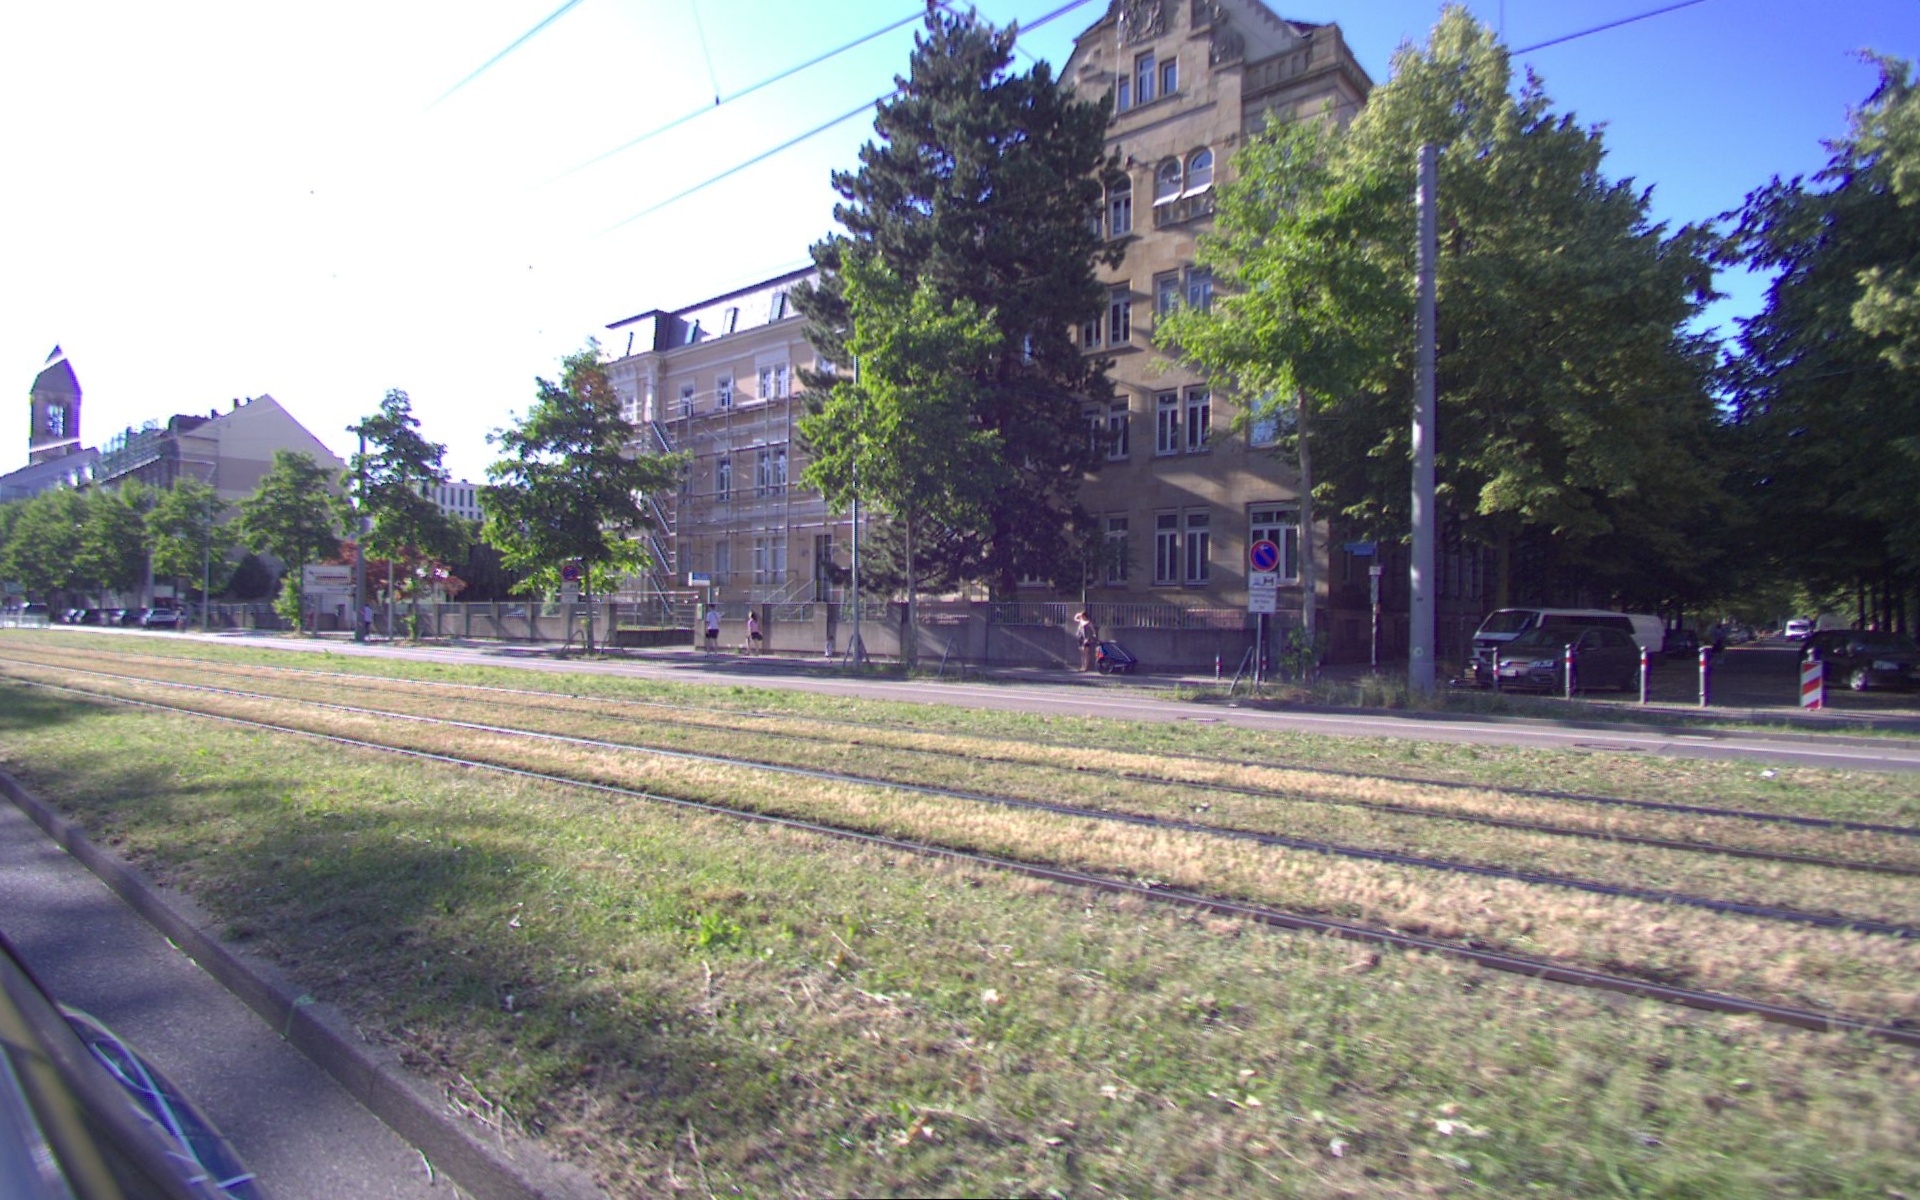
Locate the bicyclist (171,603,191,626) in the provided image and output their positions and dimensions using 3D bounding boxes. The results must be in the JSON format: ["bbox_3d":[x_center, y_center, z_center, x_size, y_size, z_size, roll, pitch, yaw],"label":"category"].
[{"bbox_3d":[-49.726,0.916,64.620,1.133,1.492,0.767,0,0,40],"label":"bicyclist"}]

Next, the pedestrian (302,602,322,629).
[{"bbox_3d":[-40.737,0.982,63.641,0.811,1.660,0.718,0,-3,34],"label":"pedestrian"}]

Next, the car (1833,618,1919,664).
[{"bbox_3d":[41.906,1.788,44.657,5.002,1.932,2.041,0,0,37],"label":"car"}]

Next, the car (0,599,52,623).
[{"bbox_3d":[-76.988,0.926,83.282,4.453,1.933,1.926,0,-2,29],"label":"car"}]

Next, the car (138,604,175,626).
[{"bbox_3d":[-60.984,1.146,76.778,4.067,1.598,1.702,0,1,45],"label":"car"}]

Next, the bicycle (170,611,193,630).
[{"bbox_3d":[-49.665,1.297,64.567,1.754,1.202,0.767,0,0,40],"label":"bicycle"}]

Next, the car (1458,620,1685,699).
[{"bbox_3d":[12.970,1.203,21.507,4.119,1.482,2.007,0,0,-21],"label":"car"}]

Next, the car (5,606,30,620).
[{"bbox_3d":[-113.076,1.584,121.444,3.782,1.648,1.788,0,0,40],"label":"car"}]

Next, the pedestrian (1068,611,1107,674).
[{"bbox_3d":[3.322,1.098,26.393,0.796,1.605,0.612,0,0,38],"label":"pedestrian"}]

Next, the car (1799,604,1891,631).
[{"bbox_3d":[66.502,1.288,76.160,5.002,1.932,2.041,0,0,37],"label":"car"}]

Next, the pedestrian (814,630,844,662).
[{"bbox_3d":[-3.983,1.407,30.760,0.642,0.939,0.585,4,-3,-45],"label":"pedestrian"}]

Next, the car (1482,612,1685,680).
[{"bbox_3d":[19.128,1.392,31.222,4.939,1.932,2.068,-1,0,-1],"label":"car"}]

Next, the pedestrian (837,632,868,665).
[{"bbox_3d":[-3.115,1.409,29.289,0.642,0.939,0.585,4,-3,-45],"label":"pedestrian"}]

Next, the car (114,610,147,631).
[{"bbox_3d":[-68.613,1.670,83.704,4.067,1.598,1.702,0,1,45],"label":"car"}]

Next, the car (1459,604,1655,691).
[{"bbox_3d":[15.590,1.168,26.450,4.534,2.029,2.007,-1,0,-21],"label":"car"}]

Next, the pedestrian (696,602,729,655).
[{"bbox_3d":[-8.524,0.990,34.843,0.887,1.789,0.643,0,-3,39],"label":"pedestrian"}]

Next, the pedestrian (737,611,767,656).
[{"bbox_3d":[-7.277,1.163,35.370,0.782,1.551,0.643,0,-3,39],"label":"pedestrian"}]

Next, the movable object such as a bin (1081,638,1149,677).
[{"bbox_3d":[3.901,1.421,25.430,1.235,0.871,1.233,0,1,38],"label":"movable object such as a bin"}]

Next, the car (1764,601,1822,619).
[{"bbox_3d":[93.941,1.139,114.194,5.002,1.932,2.041,0,0,37],"label":"car"}]

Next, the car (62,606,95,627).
[{"bbox_3d":[-84.865,1.564,97.409,3.999,2.029,1.972,0,0,42],"label":"car"}]

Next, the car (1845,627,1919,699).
[{"bbox_3d":[22.580,1.450,24.087,1.997,1.482,4.139,0,0,37],"label":"car"}]

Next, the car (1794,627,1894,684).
[{"bbox_3d":[26.881,1.625,30.895,1.997,1.482,4.139,0,0,37],"label":"car"}]

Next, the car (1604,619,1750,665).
[{"bbox_3d":[32.371,1.874,45.885,4.974,1.932,2.053,0,0,21],"label":"car"}]

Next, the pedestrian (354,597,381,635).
[{"bbox_3d":[-31.191,0.826,53.261,1.085,1.942,0.849,0,-3,39],"label":"pedestrian"}]
